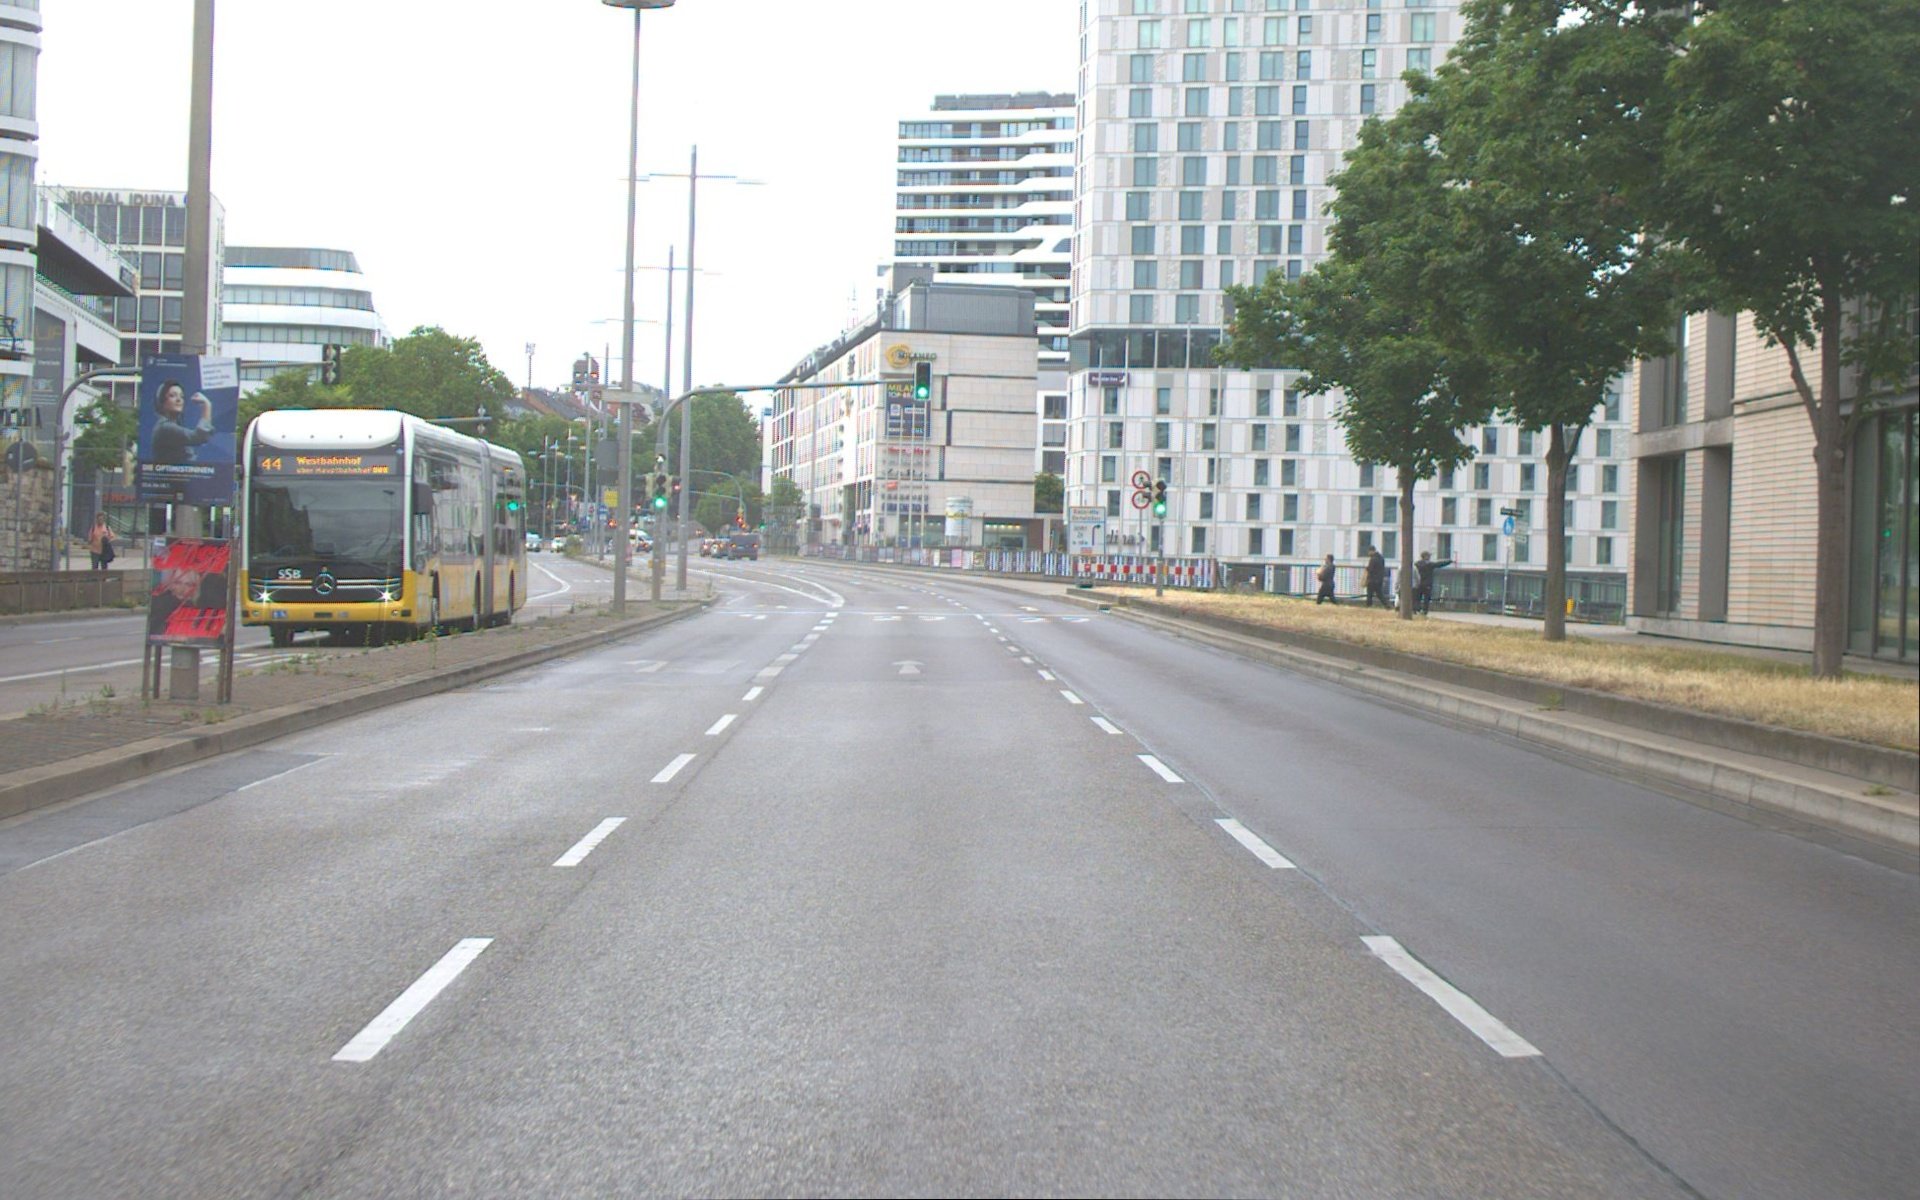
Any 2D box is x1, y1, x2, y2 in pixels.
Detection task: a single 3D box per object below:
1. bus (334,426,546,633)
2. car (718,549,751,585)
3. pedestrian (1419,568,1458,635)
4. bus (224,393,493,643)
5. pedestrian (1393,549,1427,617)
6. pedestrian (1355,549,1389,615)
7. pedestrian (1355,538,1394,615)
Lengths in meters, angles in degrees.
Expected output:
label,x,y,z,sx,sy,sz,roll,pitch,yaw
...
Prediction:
label,x,y,z,sx,sy,sz,roll,pitch,yaw
bus,-9.569,-1.333,64.299,2.698,3.547,10.095,0,1,-2
car,-16.662,-2.433,253.835,1.994,2.335,4.000,-8,1,-2
pedestrian,11.402,0.028,81.896,0.670,1.572,0.667,2,3,37
bus,-9.235,-1.230,53.909,2.698,3.547,10.094,0,1,-2
pedestrian,10.652,-0.409,81.333,0.550,1.572,0.669,2,3,33
pedestrian,10.008,-0.437,83.517,0.550,1.572,0.669,2,3,33
pedestrian,10.064,-0.582,83.525,0.781,1.835,0.551,-2,3,-44
